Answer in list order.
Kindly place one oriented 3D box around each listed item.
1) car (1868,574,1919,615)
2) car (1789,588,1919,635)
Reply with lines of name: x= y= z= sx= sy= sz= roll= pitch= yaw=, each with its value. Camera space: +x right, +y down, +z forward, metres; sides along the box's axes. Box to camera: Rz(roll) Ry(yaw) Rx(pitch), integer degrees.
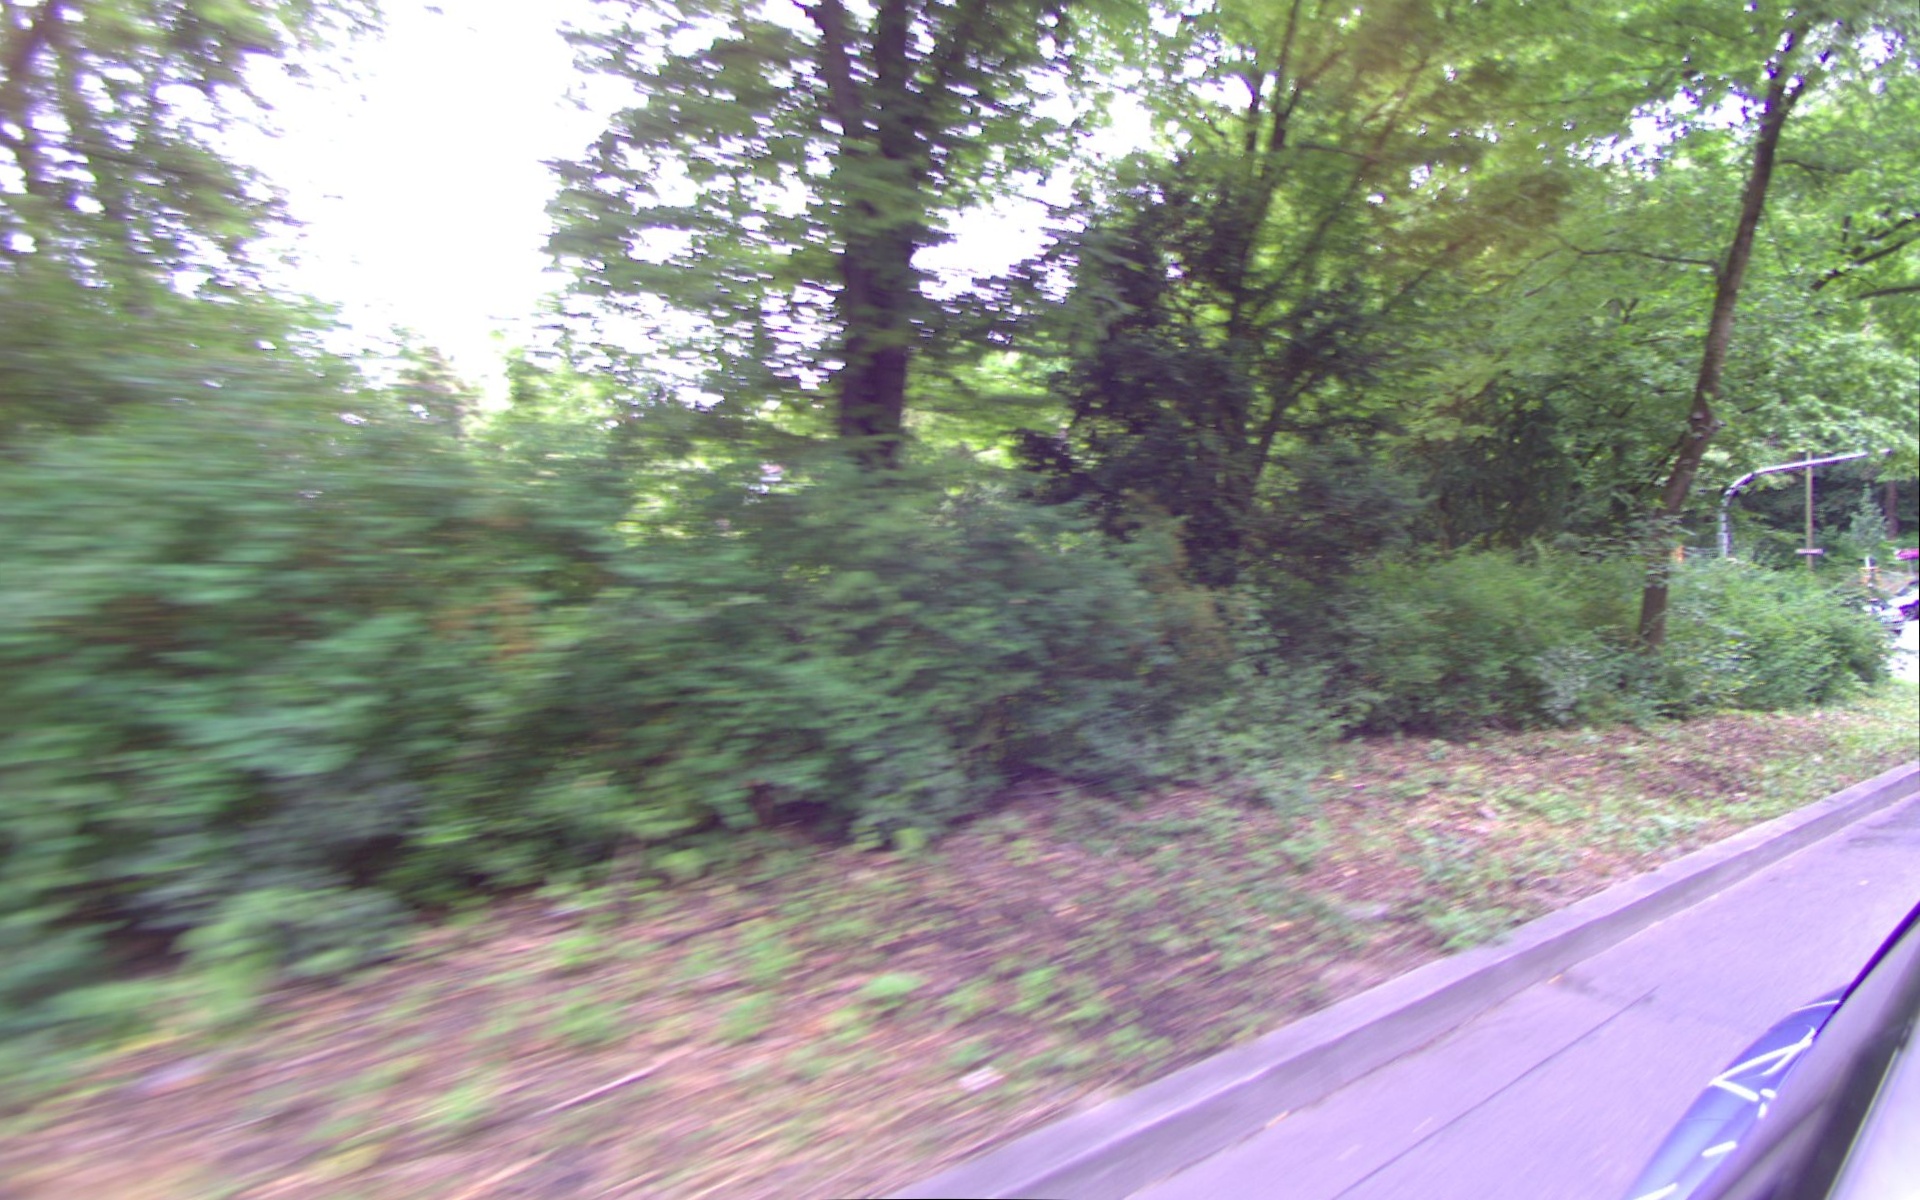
car: x=38.553 y=-0.370 z=39.625 sx=3.944 sy=1.375 sz=1.746 roll=-7 pitch=0 yaw=16
car: x=32.157 y=0.447 z=36.245 sx=1.581 sy=1.436 sz=3.755 roll=-5 pitch=-2 yaw=-3
